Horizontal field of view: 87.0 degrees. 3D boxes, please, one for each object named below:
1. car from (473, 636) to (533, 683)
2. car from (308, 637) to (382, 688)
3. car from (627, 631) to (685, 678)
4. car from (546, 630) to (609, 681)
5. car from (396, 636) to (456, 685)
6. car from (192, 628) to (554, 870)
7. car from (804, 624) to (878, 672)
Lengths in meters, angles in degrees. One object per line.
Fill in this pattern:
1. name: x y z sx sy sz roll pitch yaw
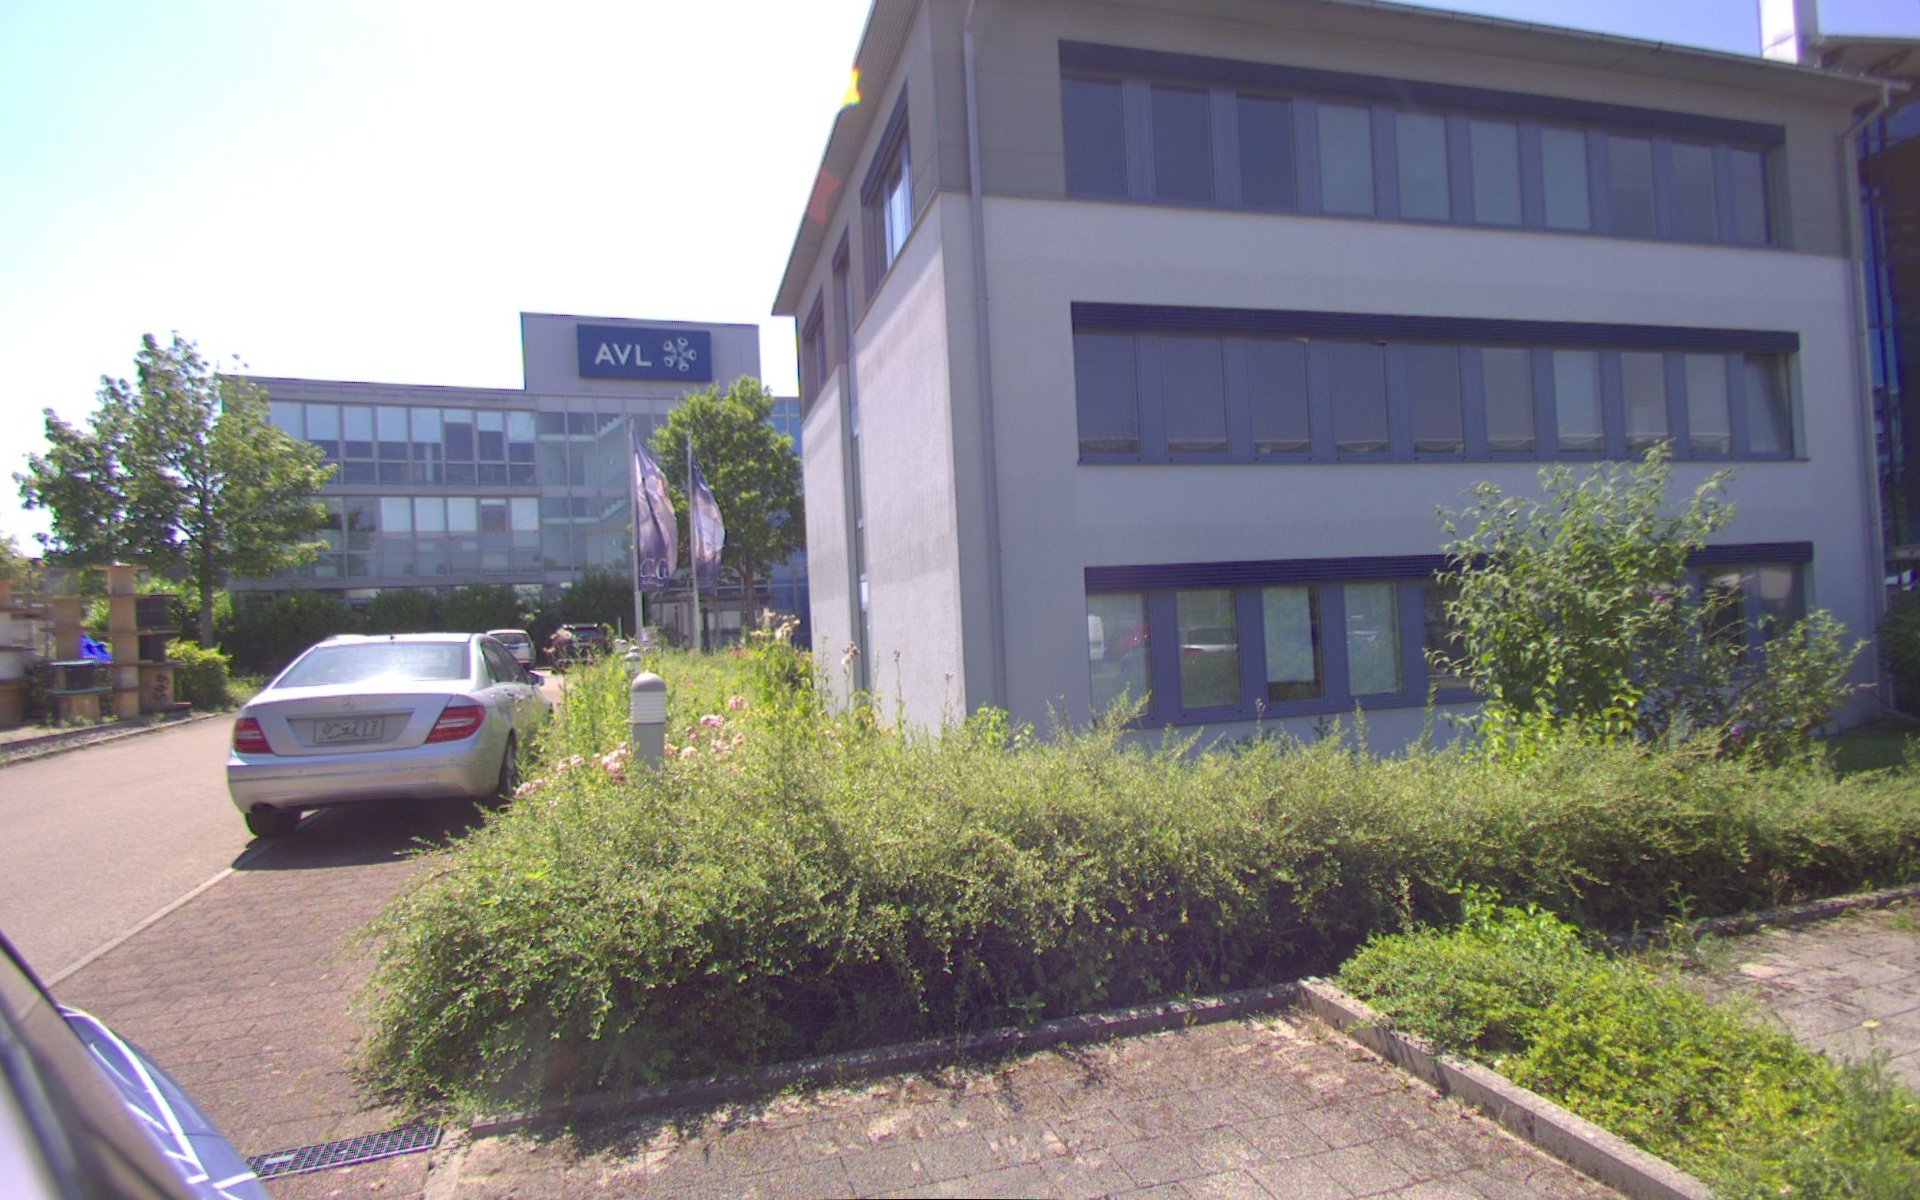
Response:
1. car: -15.460 1.962 34.165 1.702 1.463 3.612 0 -2 -26
2. car: -19.327 1.930 31.923 1.496 1.457 3.430 0 -2 -23
3. car: -10.734 1.879 35.538 1.701 1.495 4.411 -1 -2 -19
4. car: -13.128 1.855 34.738 1.906 1.615 3.872 0 -2 -21
5. car: -17.270 1.923 32.853 1.615 1.463 3.612 0 -2 -26
6. car: -4.572 1.010 8.561 1.705 1.468 4.159 -1 -2 -16
7. car: -4.519 1.787 37.882 1.802 1.650 4.184 -1 -2 -20
